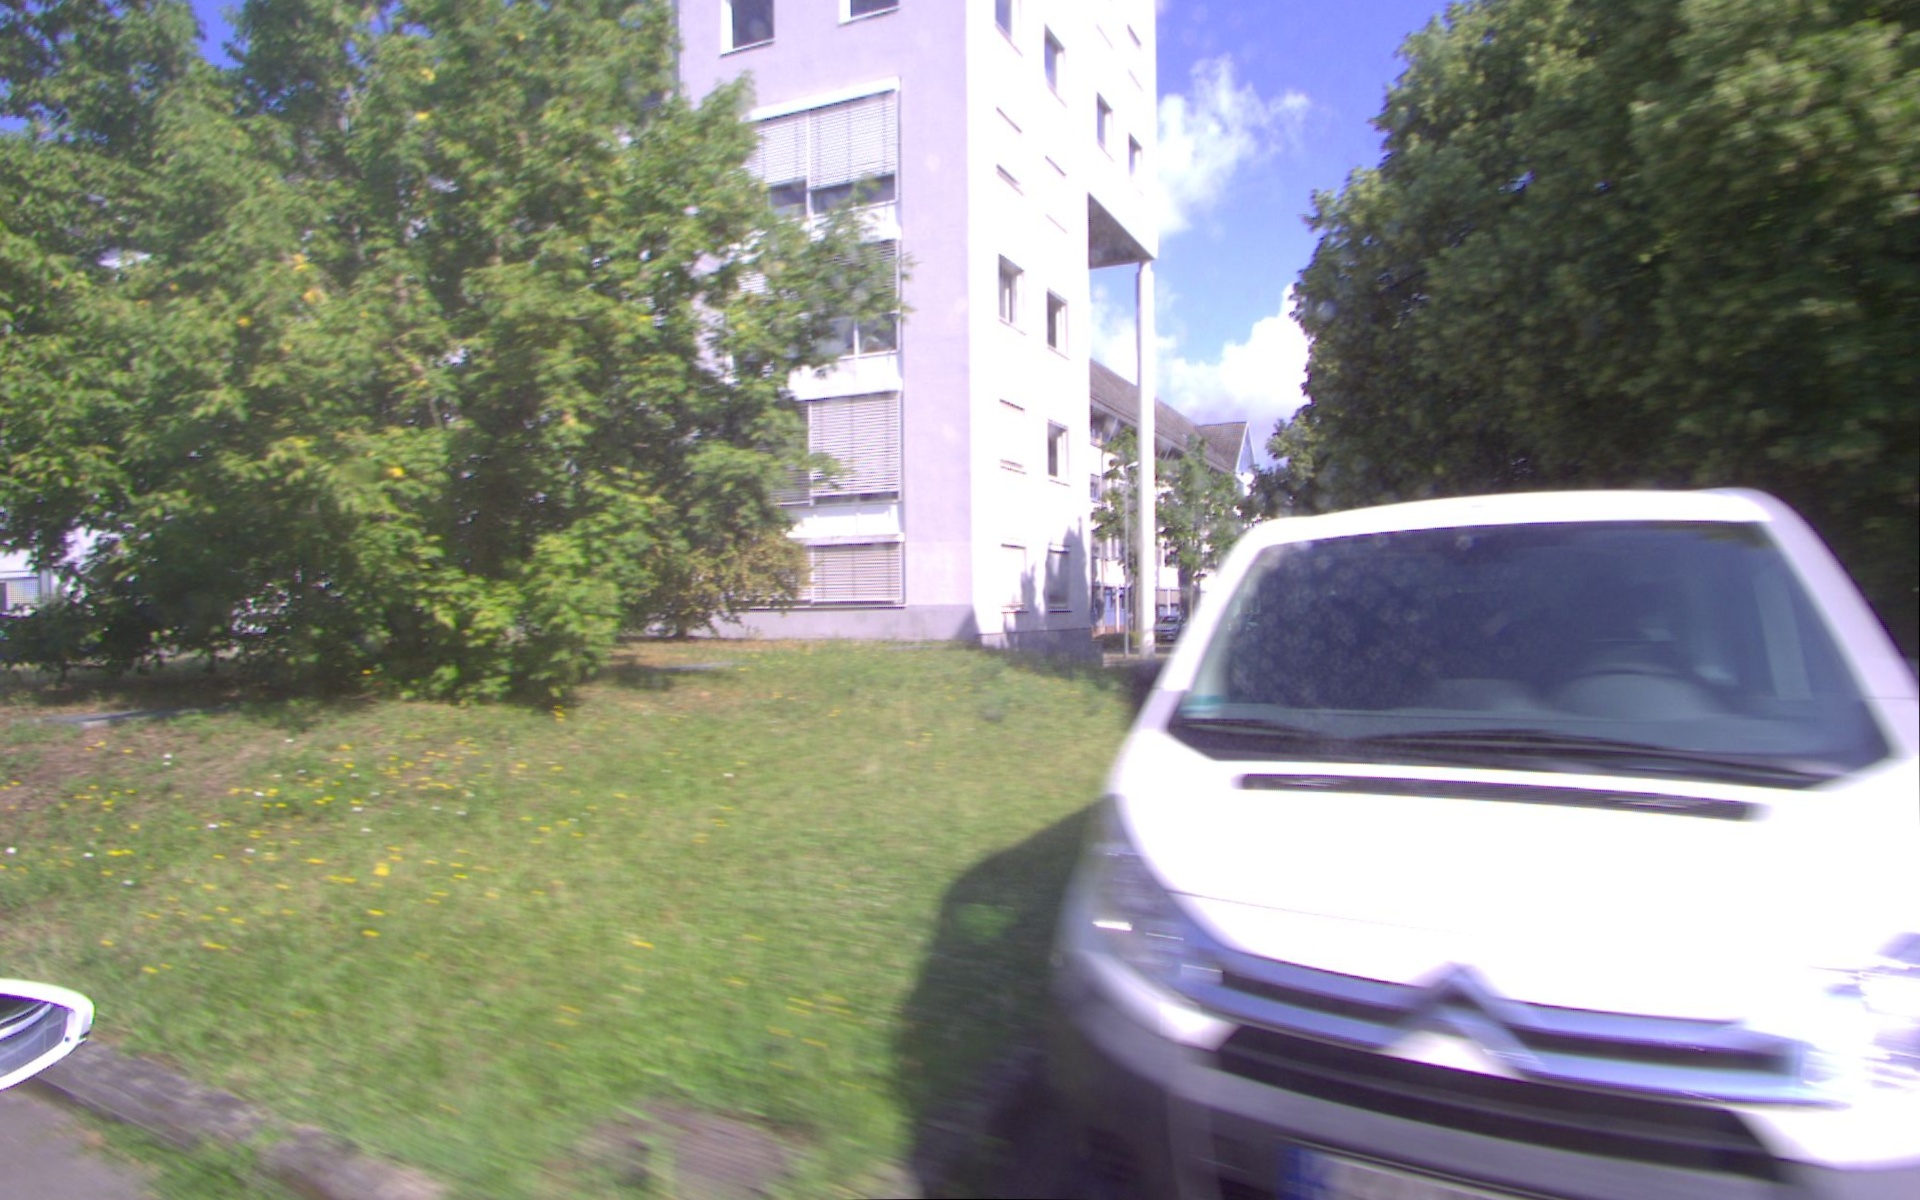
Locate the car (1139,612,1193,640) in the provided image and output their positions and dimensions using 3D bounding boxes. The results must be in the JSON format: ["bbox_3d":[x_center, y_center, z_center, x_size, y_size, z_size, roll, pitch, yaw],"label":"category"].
[{"bbox_3d":[11.363,1.454,55.016,1.790,1.460,3.822,1,-2,30],"label":"car"}]

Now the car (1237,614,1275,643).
[{"bbox_3d":[20.169,1.894,68.148,1.818,1.707,3.984,3,3,26],"label":"car"}]

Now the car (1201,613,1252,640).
[{"bbox_3d":[15.672,1.573,58.727,1.818,1.445,4.167,-1,-4,31],"label":"car"}]

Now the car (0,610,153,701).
[{"bbox_3d":[-17.860,1.019,18.601,1.725,1.626,4.119,0,-3,23],"label":"car"}]

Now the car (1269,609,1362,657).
[{"bbox_3d":[17.315,1.581,48.801,3.939,2.042,1.990,3,3,30],"label":"car"}]

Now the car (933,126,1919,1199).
[{"bbox_3d":[2.011,0.446,3.667,1.970,1.990,4.934,0,-1,29],"label":"car"}]

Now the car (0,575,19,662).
[{"bbox_3d":[-20.930,0.331,19.052,1.916,1.768,3.990,0,-1,23],"label":"car"}]
